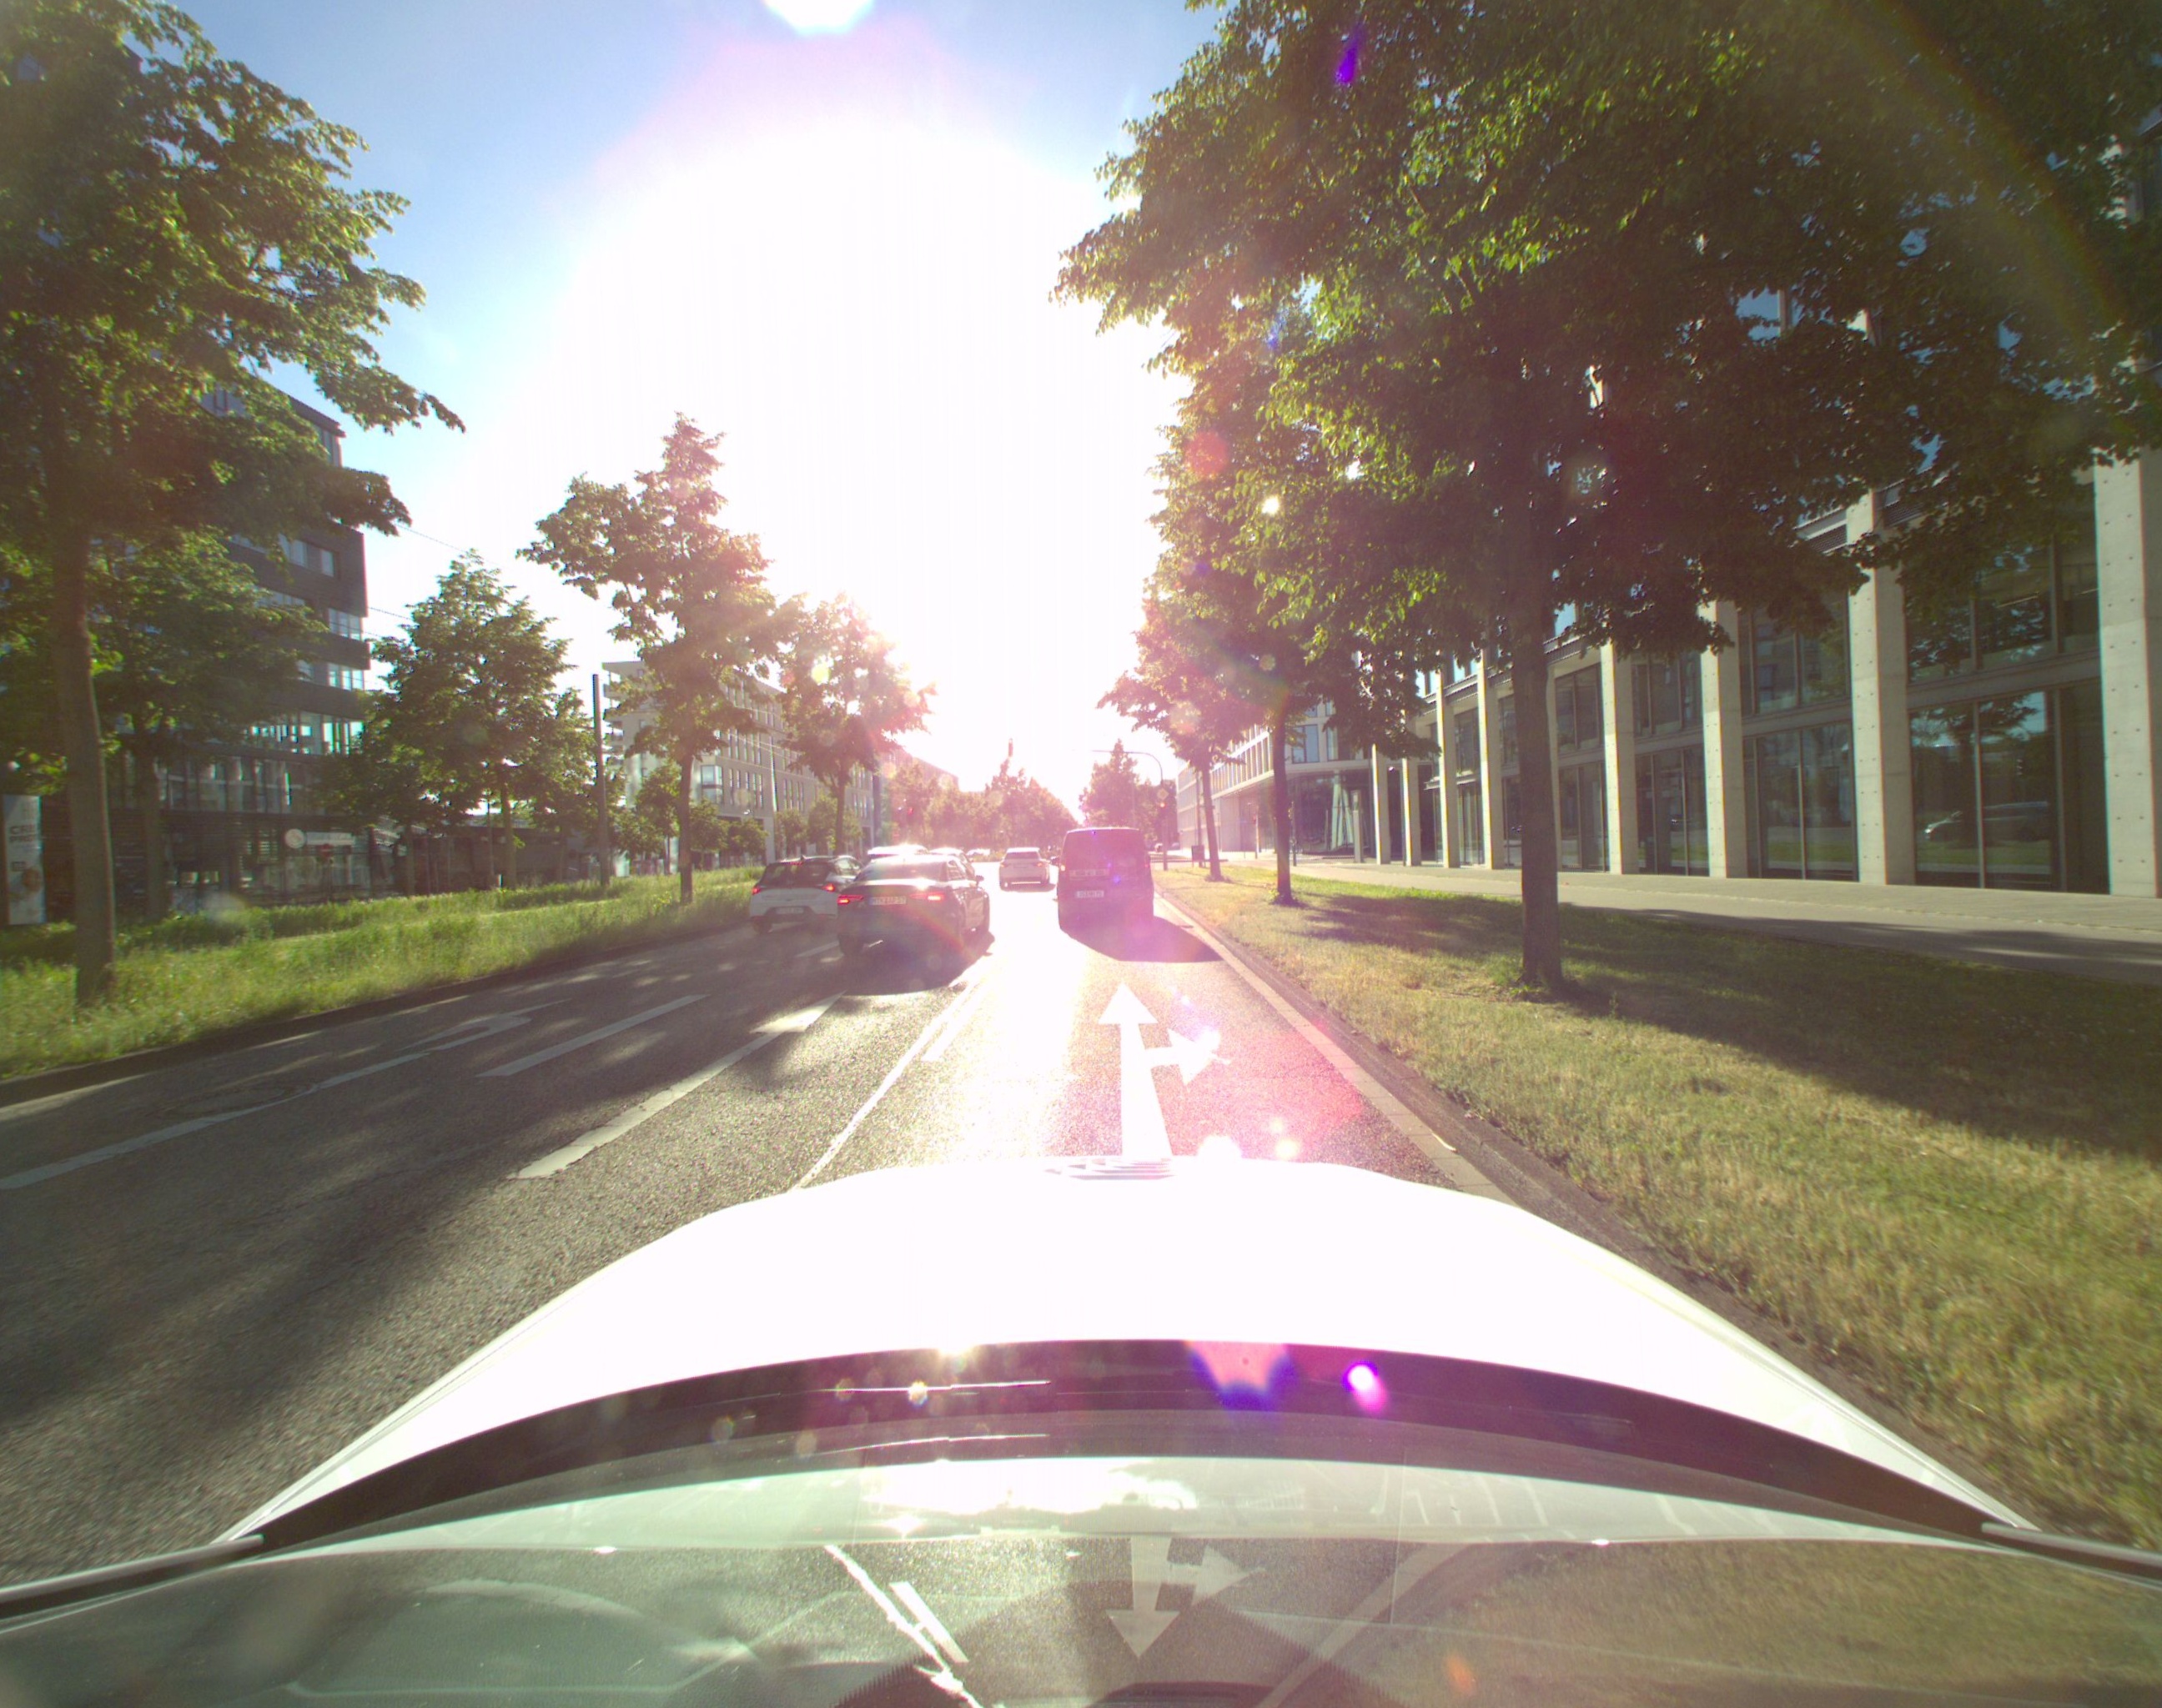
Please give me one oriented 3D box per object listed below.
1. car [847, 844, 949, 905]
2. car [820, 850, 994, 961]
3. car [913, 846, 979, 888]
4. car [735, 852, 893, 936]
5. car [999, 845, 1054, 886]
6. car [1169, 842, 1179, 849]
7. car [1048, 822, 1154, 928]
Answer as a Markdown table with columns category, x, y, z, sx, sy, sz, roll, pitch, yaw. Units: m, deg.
| category | x | y | z | sx | sy | sz | roll | pitch | yaw |
| --- | --- | --- | --- | --- | --- | --- | --- | --- | --- |
| car | -5.161 | 0.511 | 23.522 | 1.835 | 1.534 | 3.943 | -3 | 1 | 3 |
| car | -2.529 | 0.679 | 12.876 | 1.714 | 1.366 | 4.148 | -1 | 1 | 2 |
| car | -5.120 | 0.452 | 31.441 | 1.709 | 1.398 | 4.002 | -3 | 1 | 2 |
| car | -5.335 | 0.716 | 16.886 | 1.936 | 1.441 | 3.999 | -2 | 0 | -1 |
| car | -2.040 | 0.390 | 31.362 | 1.715 | 1.425 | 3.817 | -3 | 1 | 1 |
| car | 18.880 | -1.742 | 165.363 | 1.557 | 1.368 | 3.336 | -3 | 1 | 2 |
| car | 0.474 | 0.338 | 16.235 | 1.790 | 1.776 | 4.004 | -3 | 1 | 4 |
